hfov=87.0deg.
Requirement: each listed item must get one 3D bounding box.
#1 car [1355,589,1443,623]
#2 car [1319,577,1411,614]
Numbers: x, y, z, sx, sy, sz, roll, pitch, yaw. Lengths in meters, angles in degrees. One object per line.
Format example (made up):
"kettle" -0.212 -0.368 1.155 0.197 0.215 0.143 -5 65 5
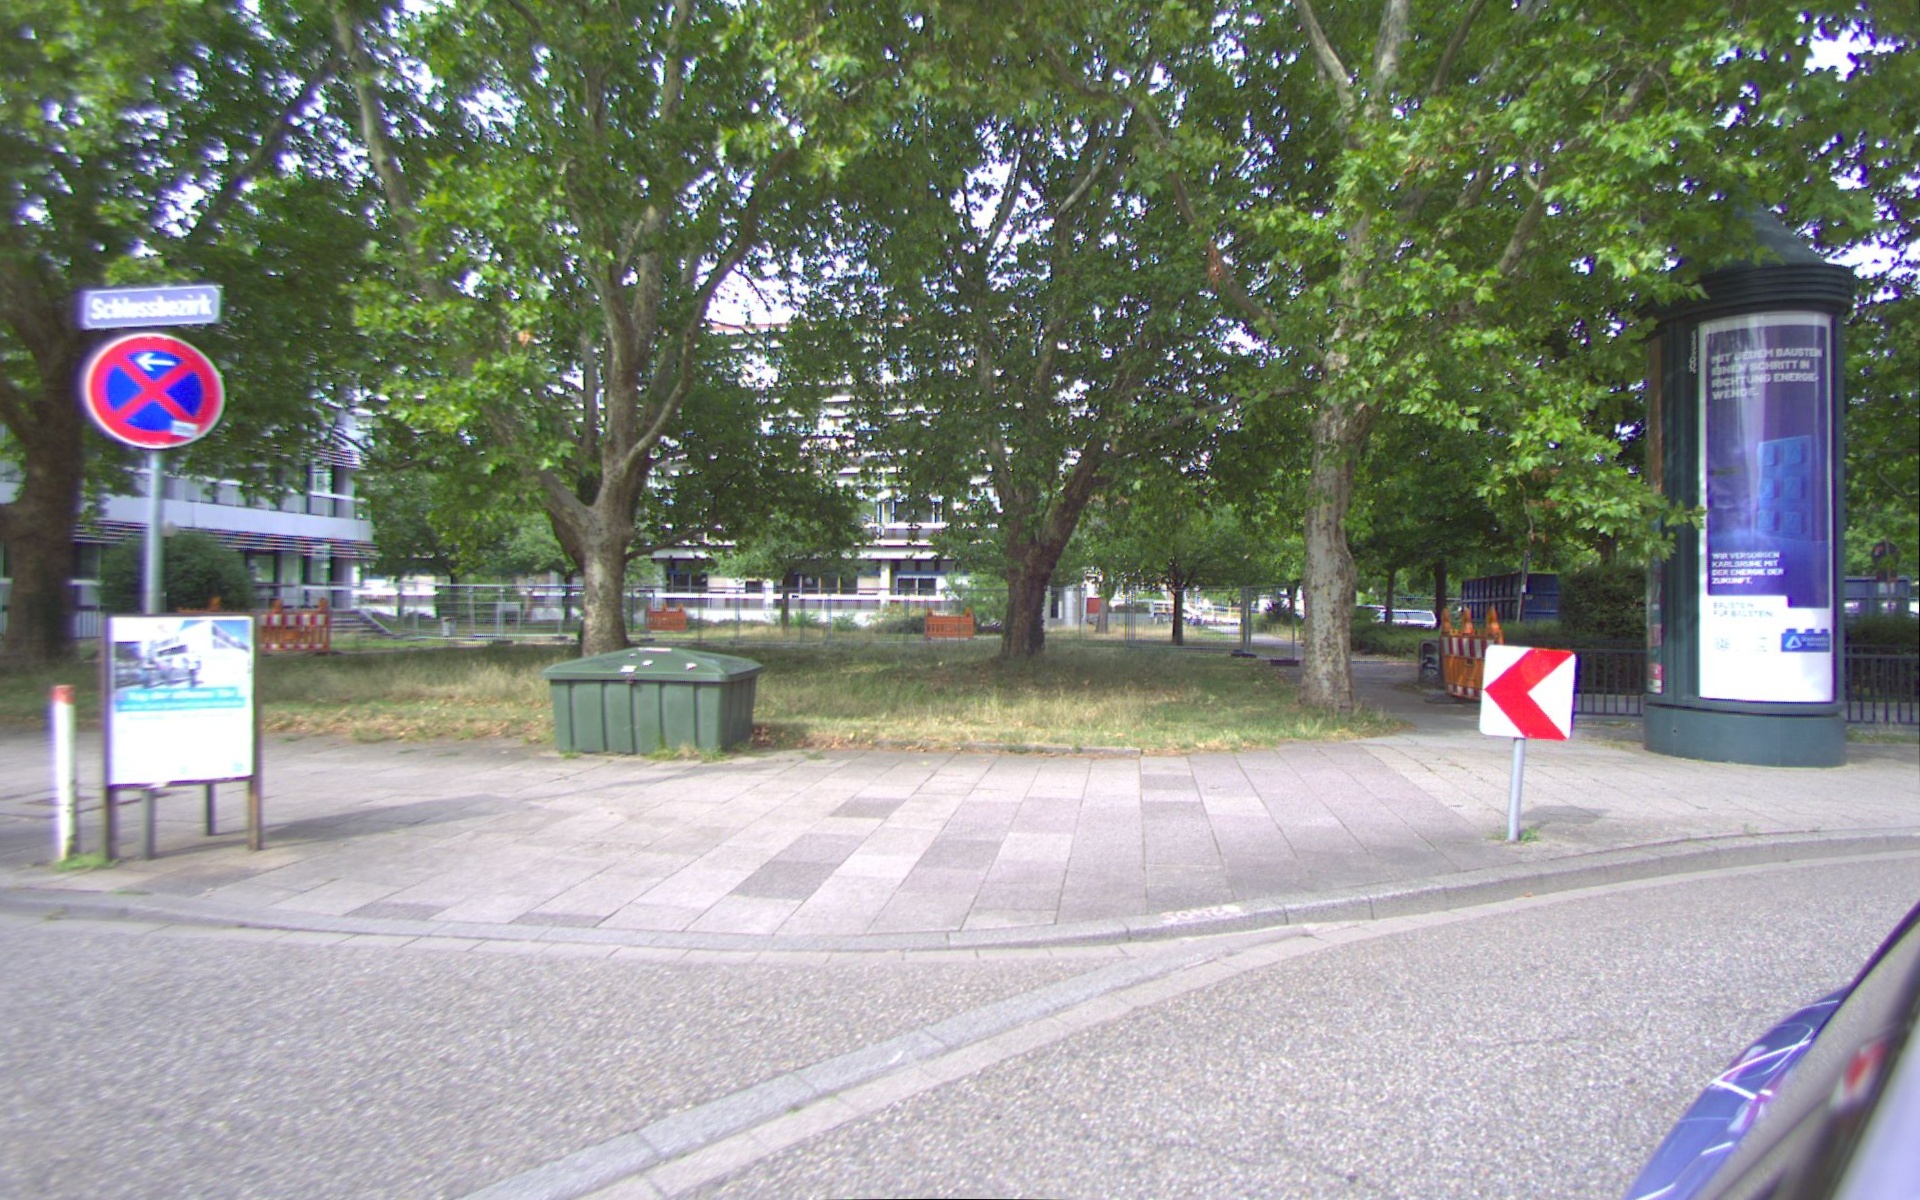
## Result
"car" 22.684 0.321 52.386 3.726 1.601 1.995 1 -2 8
"car" 23.822 -0.277 59.670 4.693 2.040 1.995 1 -2 8
